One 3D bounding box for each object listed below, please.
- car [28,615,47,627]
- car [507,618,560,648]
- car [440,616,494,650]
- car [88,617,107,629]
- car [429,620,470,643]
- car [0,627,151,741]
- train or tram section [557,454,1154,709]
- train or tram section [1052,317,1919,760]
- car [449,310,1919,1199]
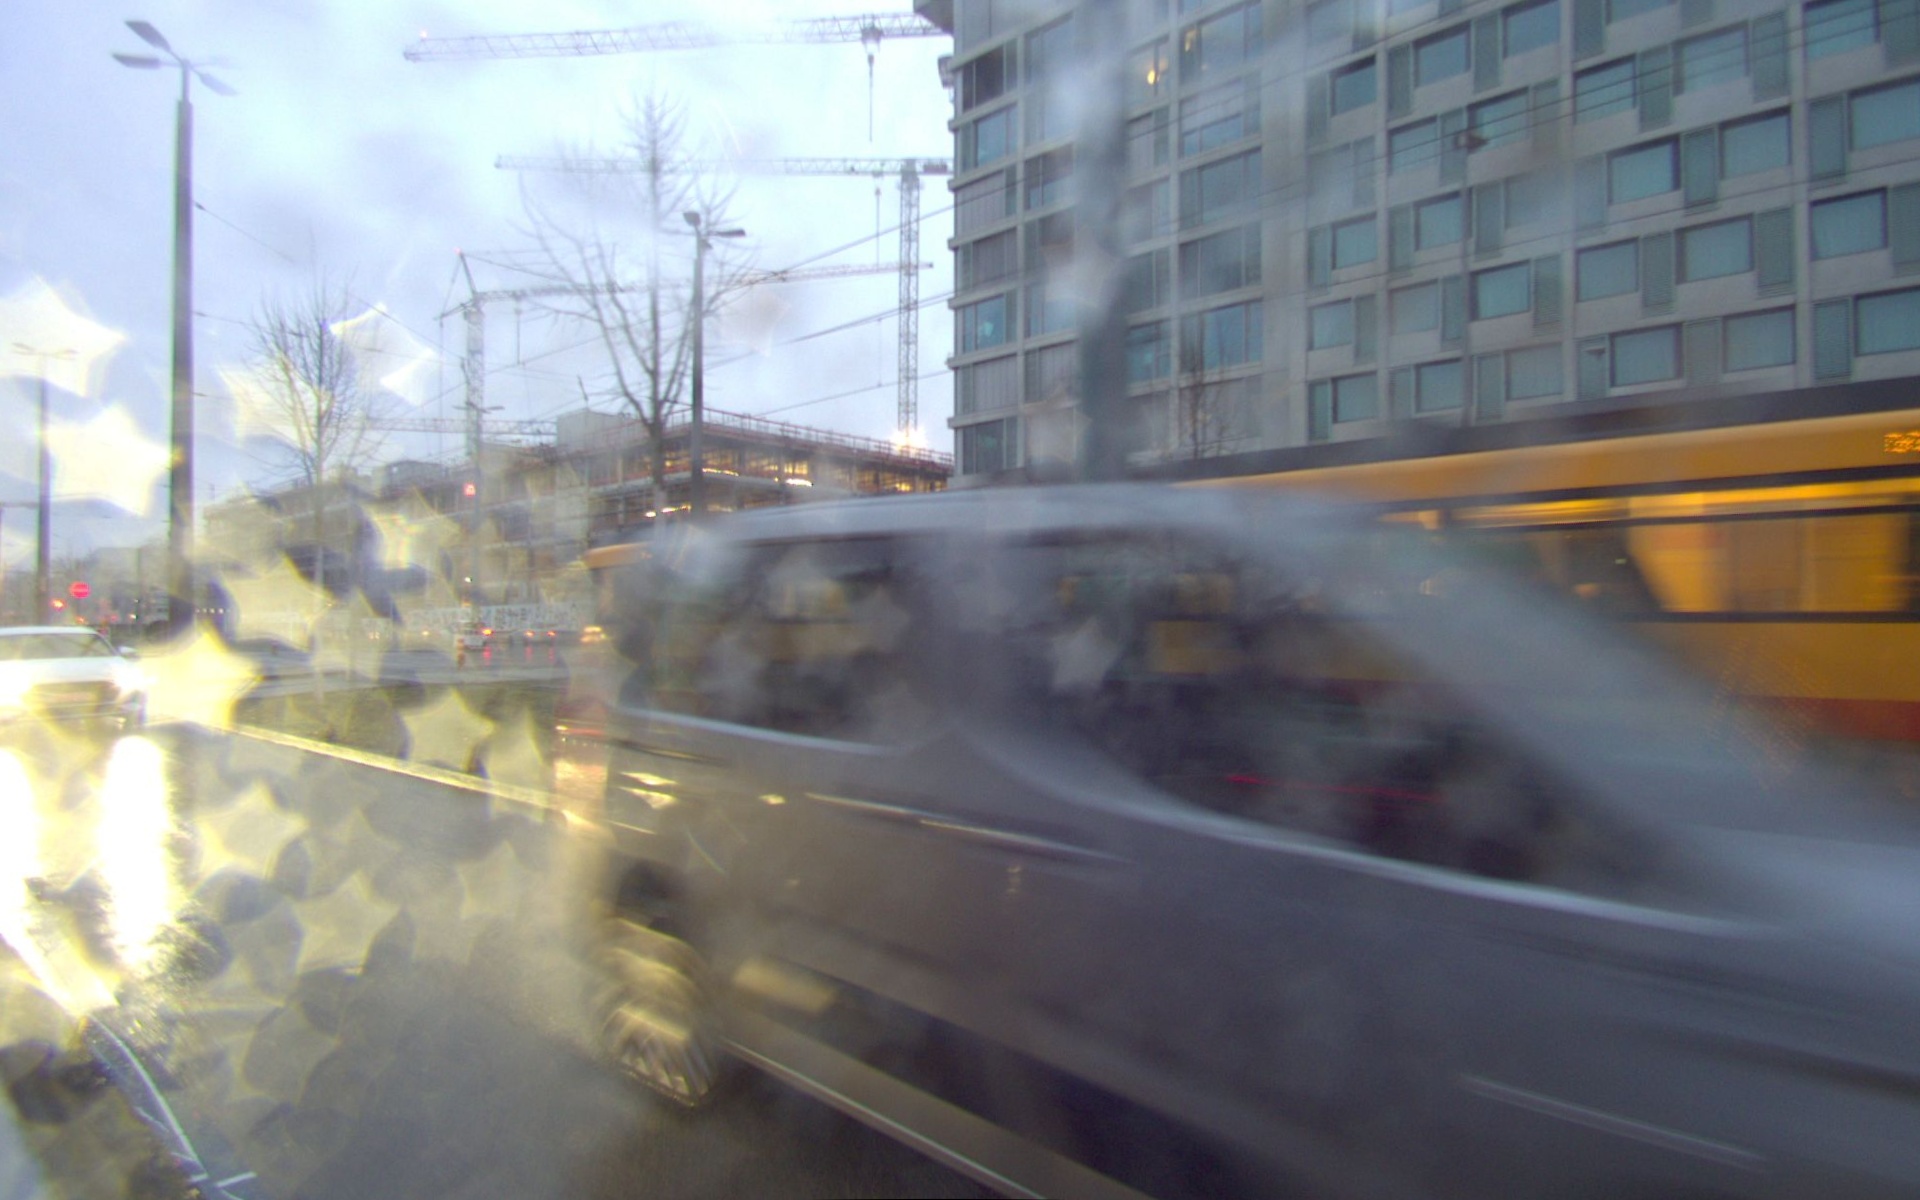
[{"bbox_3d":[-164.398,3.738,180.353,3.999,2.029,1.972,-1,-2,42],"label":"car"},{"bbox_3d":[-27.190,2.084,64.469,1.969,1.863,4.005,1,-2,-42],"label":"car"},{"bbox_3d":[-30.617,2.029,62.822,1.969,2.029,4.005,1,-2,-42],"label":"car"},{"bbox_3d":[-140.860,3.755,165.310,4.001,1.837,1.971,-2,-2,44],"label":"car"},{"bbox_3d":[-39.924,2.461,79.082,1.884,1.756,4.005,1,-2,-42],"label":"car"},{"bbox_3d":[-13.762,1.145,15.110,4.611,1.416,1.827,-1,0,41],"label":"car"},{"bbox_3d":[-3.167,-0.095,19.880,14.316,3.513,2.925,-2,-2,43],"label":"train or tram section"},{"bbox_3d":[7.488,-0.439,10.114,14.264,3.513,2.925,-2,-2,43],"label":"train or tram section"},{"bbox_3d":[0.646,0.564,2.587,4.532,1.749,1.776,-1,0,39],"label":"car"}]
